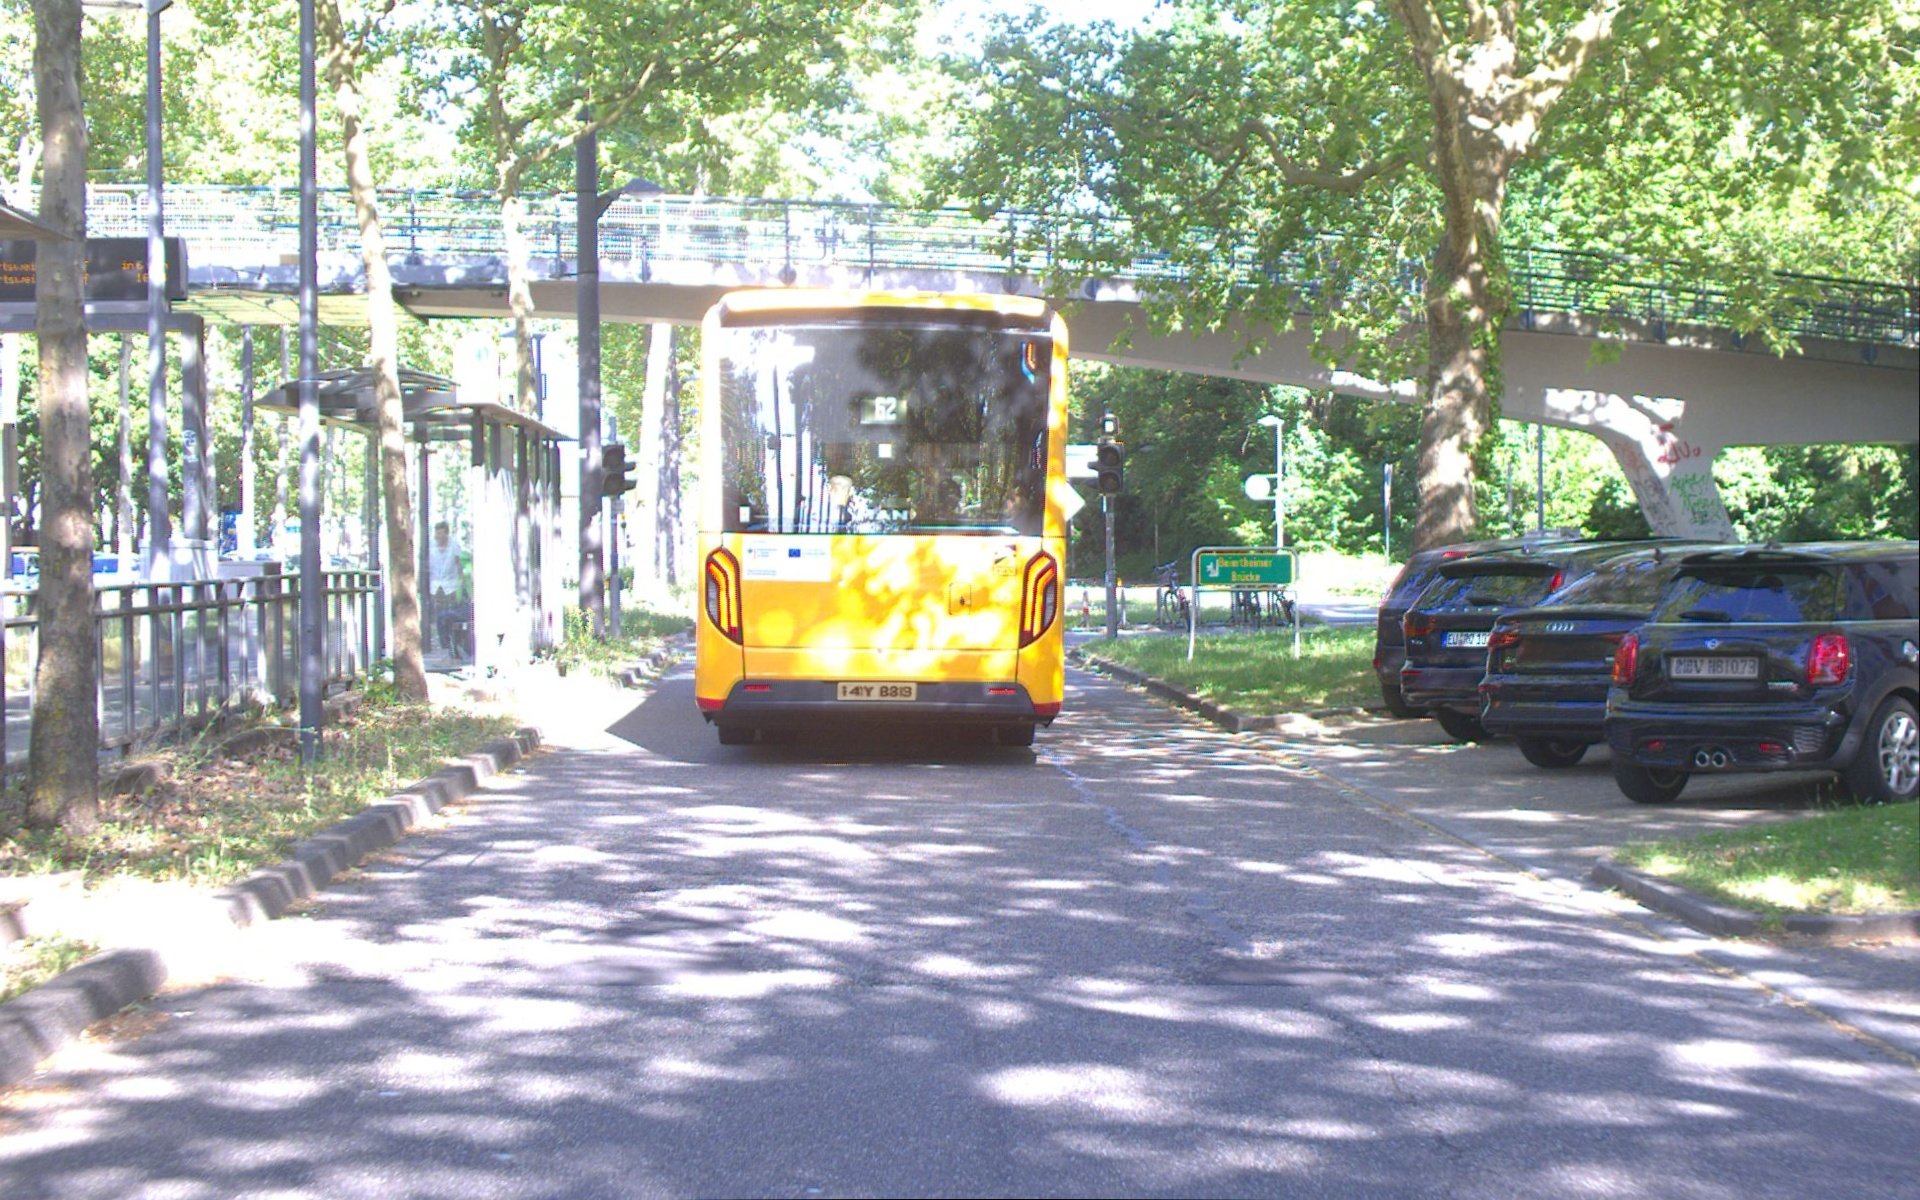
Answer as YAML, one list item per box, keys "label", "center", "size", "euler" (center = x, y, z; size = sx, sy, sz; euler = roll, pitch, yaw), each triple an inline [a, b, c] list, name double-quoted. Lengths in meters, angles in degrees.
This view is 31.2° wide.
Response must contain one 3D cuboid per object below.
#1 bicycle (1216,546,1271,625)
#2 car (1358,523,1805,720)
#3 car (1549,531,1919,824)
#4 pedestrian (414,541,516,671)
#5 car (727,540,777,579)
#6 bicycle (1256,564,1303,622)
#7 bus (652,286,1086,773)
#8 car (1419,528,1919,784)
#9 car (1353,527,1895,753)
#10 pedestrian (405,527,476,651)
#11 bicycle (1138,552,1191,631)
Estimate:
- label: "bicycle"
  center: [4.520, -0.237, 54.893]
  size: [0.590, 1.179, 1.800]
  euler: [-3, 2, -3]
- label: "car"
  center: [5.360, 0.157, 29.366]
  size: [1.799, 1.456, 3.990]
  euler: [-2, 1, 44]
- label: "car"
  center: [5.349, 0.361, 19.866]
  size: [3.990, 1.463, 1.781]
  euler: [-3, 1, -44]
- label: "pedestrian"
  center: [-4.833, 0.054, 33.594]
  size: [0.855, 1.239, 0.850]
  euler: [1, 1, 0]
- label: "car"
  center: [-9.418, -1.837, 155.604]
  size: [1.986, 1.637, 4.134]
  euler: [2, 2, -1]
- label: "bicycle"
  center: [5.122, -0.119, 55.181]
  size: [0.505, 0.849, 1.474]
  euler: [-3, 2, -3]
- label: "bus"
  center: [-0.908, -0.560, 29.181]
  size: [2.899, 3.255, 12.219]
  euler: [0, 1, -3]
- label: "car"
  center: [5.169, 0.311, 22.934]
  size: [4.245, 1.456, 1.799]
  euler: [-3, 1, -42]
- label: "car"
  center: [5.113, 0.267, 26.180]
  size: [4.245, 1.456, 1.799]
  euler: [-3, 1, -42]
- label: "pedestrian"
  center: [-5.982, -0.133, 39.631]
  size: [0.724, 1.412, 0.682]
  euler: [1, 1, -2]
- label: "bicycle"
  center: [3.266, -0.147, 54.946]
  size: [0.590, 1.179, 1.800]
  euler: [-3, 2, -3]
